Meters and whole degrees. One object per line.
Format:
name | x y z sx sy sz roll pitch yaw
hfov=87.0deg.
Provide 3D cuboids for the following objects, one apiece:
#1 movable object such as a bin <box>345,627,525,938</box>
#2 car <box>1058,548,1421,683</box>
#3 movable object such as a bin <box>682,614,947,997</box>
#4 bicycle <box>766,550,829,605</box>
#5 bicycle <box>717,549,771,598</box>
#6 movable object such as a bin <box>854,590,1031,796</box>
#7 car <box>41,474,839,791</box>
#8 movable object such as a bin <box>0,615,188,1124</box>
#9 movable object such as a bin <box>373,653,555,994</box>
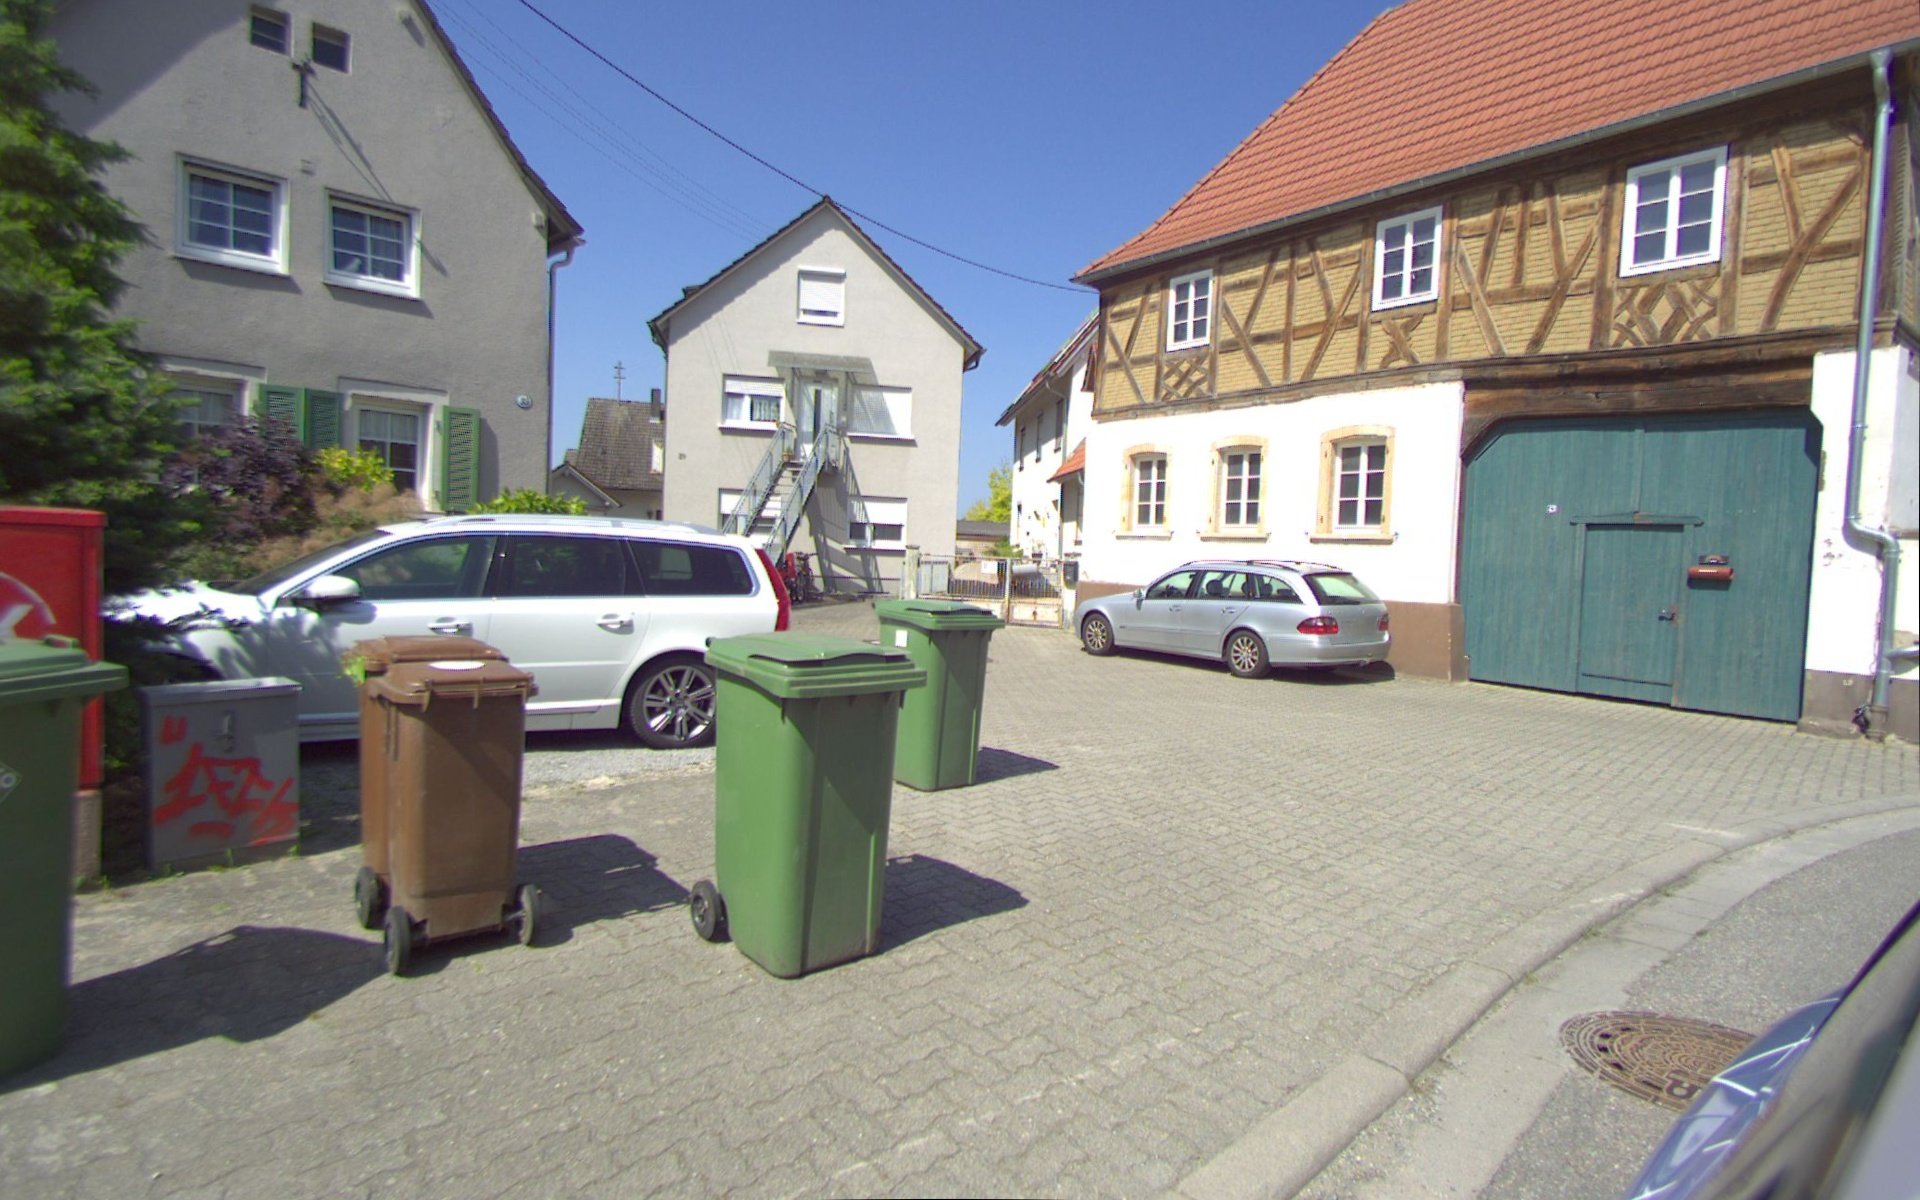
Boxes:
movable object such as a bin | -1.907 0.613 3.668 0.487 0.982 0.466 0 3 -39
car | 3.711 0.077 14.338 1.962 1.469 4.770 0 4 -35
movable object such as a bin | -0.516 0.626 3.501 0.626 1.105 0.688 0 3 -38
bicycle | -3.642 -0.545 22.893 0.521 1.143 2.508 1 3 13
bicycle | -4.995 -0.636 23.495 0.521 1.073 1.761 2 3 13
movable object such as a bin | -0.109 0.506 6.056 0.742 1.094 0.721 0 3 -42
car | -3.139 0.120 6.806 4.211 1.546 1.819 1 3 -31
movable object such as a bin | -2.479 0.611 2.433 0.750 1.085 0.670 2 3 11
movable object such as a bin | -1.639 0.686 3.336 0.454 0.961 0.446 0 3 -38
